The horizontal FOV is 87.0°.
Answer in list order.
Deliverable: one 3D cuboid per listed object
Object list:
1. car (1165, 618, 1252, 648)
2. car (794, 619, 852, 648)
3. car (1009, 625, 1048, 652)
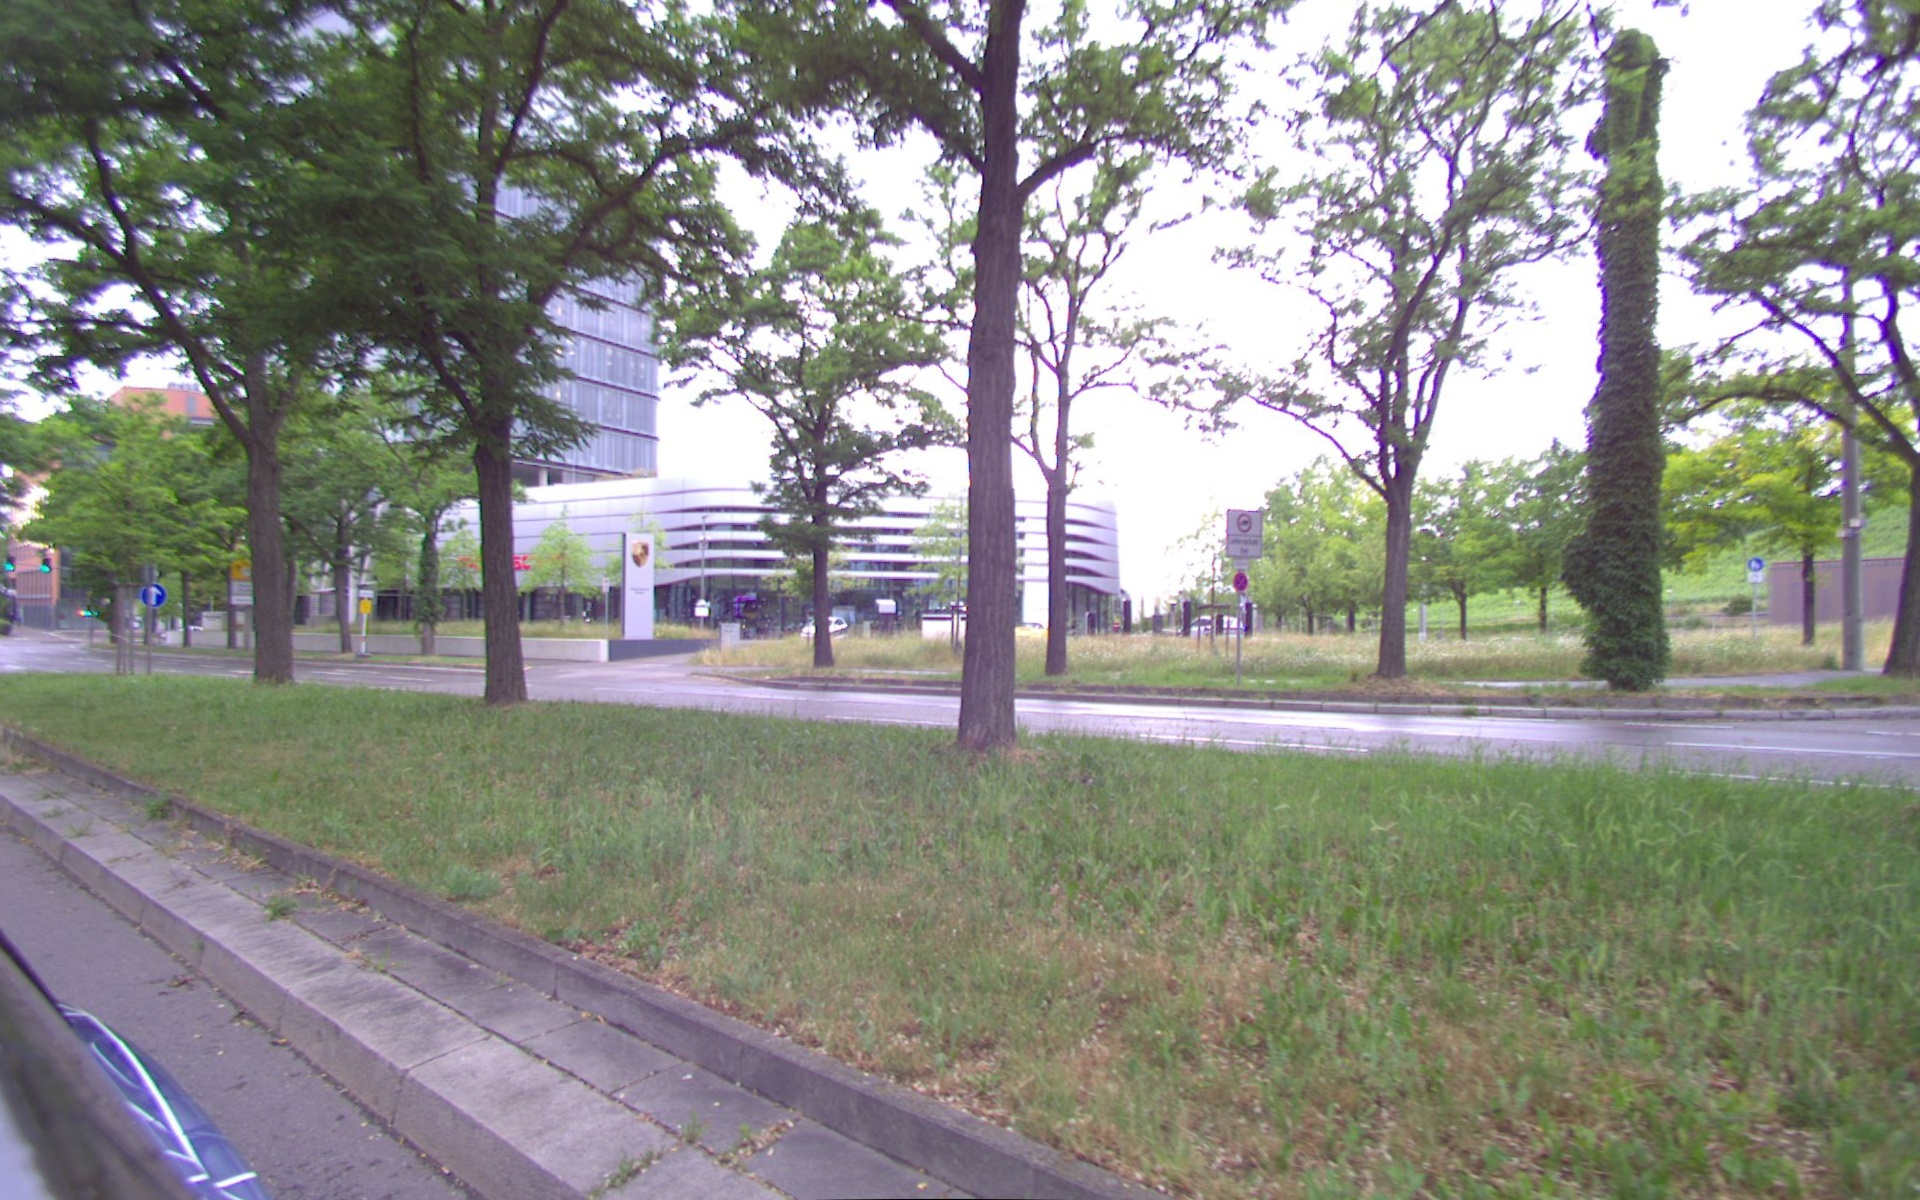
[{"bbox_3d":[11.547,1.508,47.207,1.592,1.254,4.012,-2,1,-30],"label":"car"},{"bbox_3d":[-7.660,1.881,56.863,1.763,1.423,3.979,-1,1,16],"label":"car"},{"bbox_3d":[4.057,2.252,59.470,1.605,1.334,3.981,-1,1,14],"label":"car"}]
